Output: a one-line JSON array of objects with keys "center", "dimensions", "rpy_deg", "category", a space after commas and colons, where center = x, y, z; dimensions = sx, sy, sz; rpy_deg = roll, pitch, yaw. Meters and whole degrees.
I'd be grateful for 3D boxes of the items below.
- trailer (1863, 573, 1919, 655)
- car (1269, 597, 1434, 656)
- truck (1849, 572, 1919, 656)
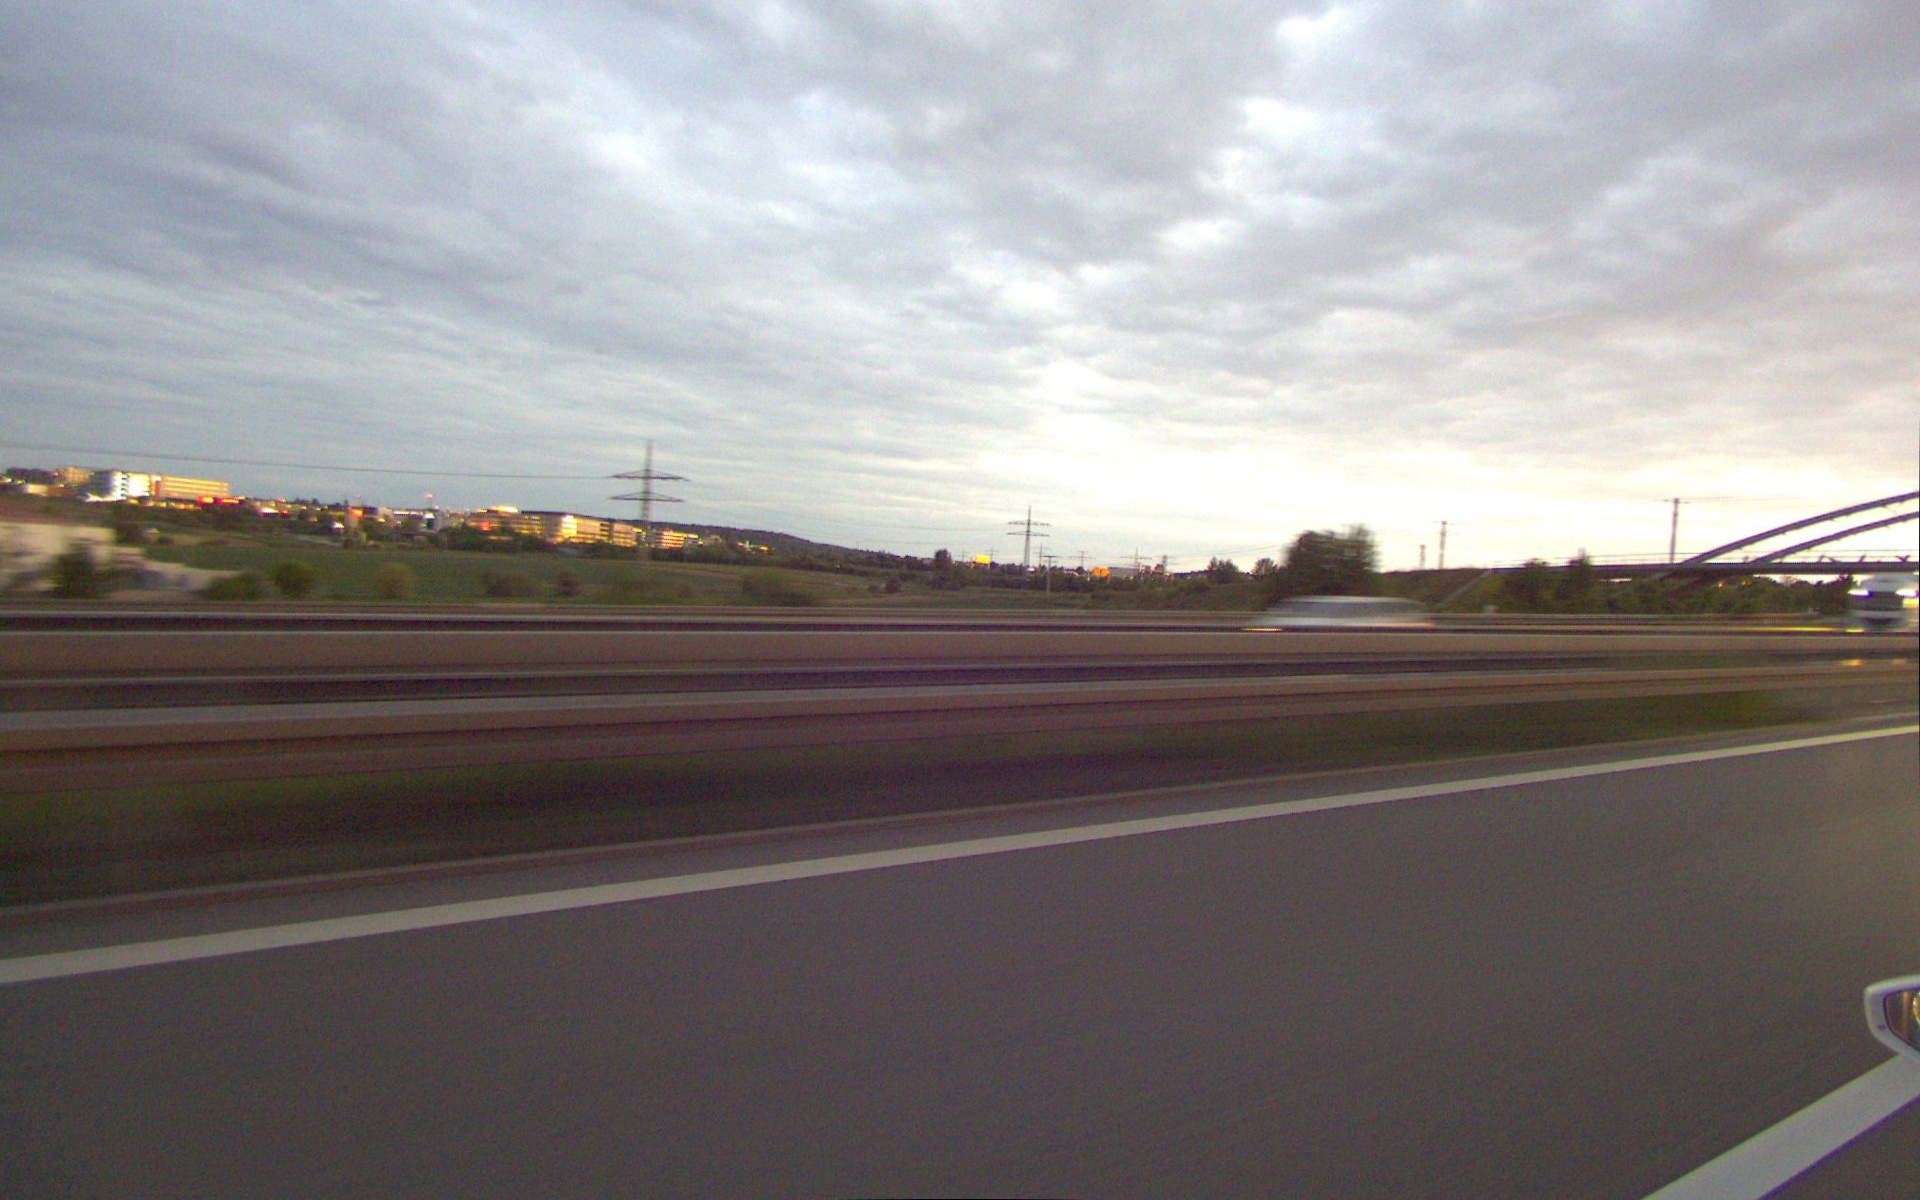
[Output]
[{"center": [59.416, 0.932, 61.208], "dimensions": [14.470, 4.567, 2.808], "rpy_deg": [1, 0, -33], "category": "trailer"}, {"center": [11.755, 0.793, 30.107], "dimensions": [4.784, 1.646, 1.985], "rpy_deg": [1, 0, -29], "category": "car"}, {"center": [53.856, 0.811, 57.531], "dimensions": [6.177, 4.567, 2.808], "rpy_deg": [1, 0, -33], "category": "truck"}]
